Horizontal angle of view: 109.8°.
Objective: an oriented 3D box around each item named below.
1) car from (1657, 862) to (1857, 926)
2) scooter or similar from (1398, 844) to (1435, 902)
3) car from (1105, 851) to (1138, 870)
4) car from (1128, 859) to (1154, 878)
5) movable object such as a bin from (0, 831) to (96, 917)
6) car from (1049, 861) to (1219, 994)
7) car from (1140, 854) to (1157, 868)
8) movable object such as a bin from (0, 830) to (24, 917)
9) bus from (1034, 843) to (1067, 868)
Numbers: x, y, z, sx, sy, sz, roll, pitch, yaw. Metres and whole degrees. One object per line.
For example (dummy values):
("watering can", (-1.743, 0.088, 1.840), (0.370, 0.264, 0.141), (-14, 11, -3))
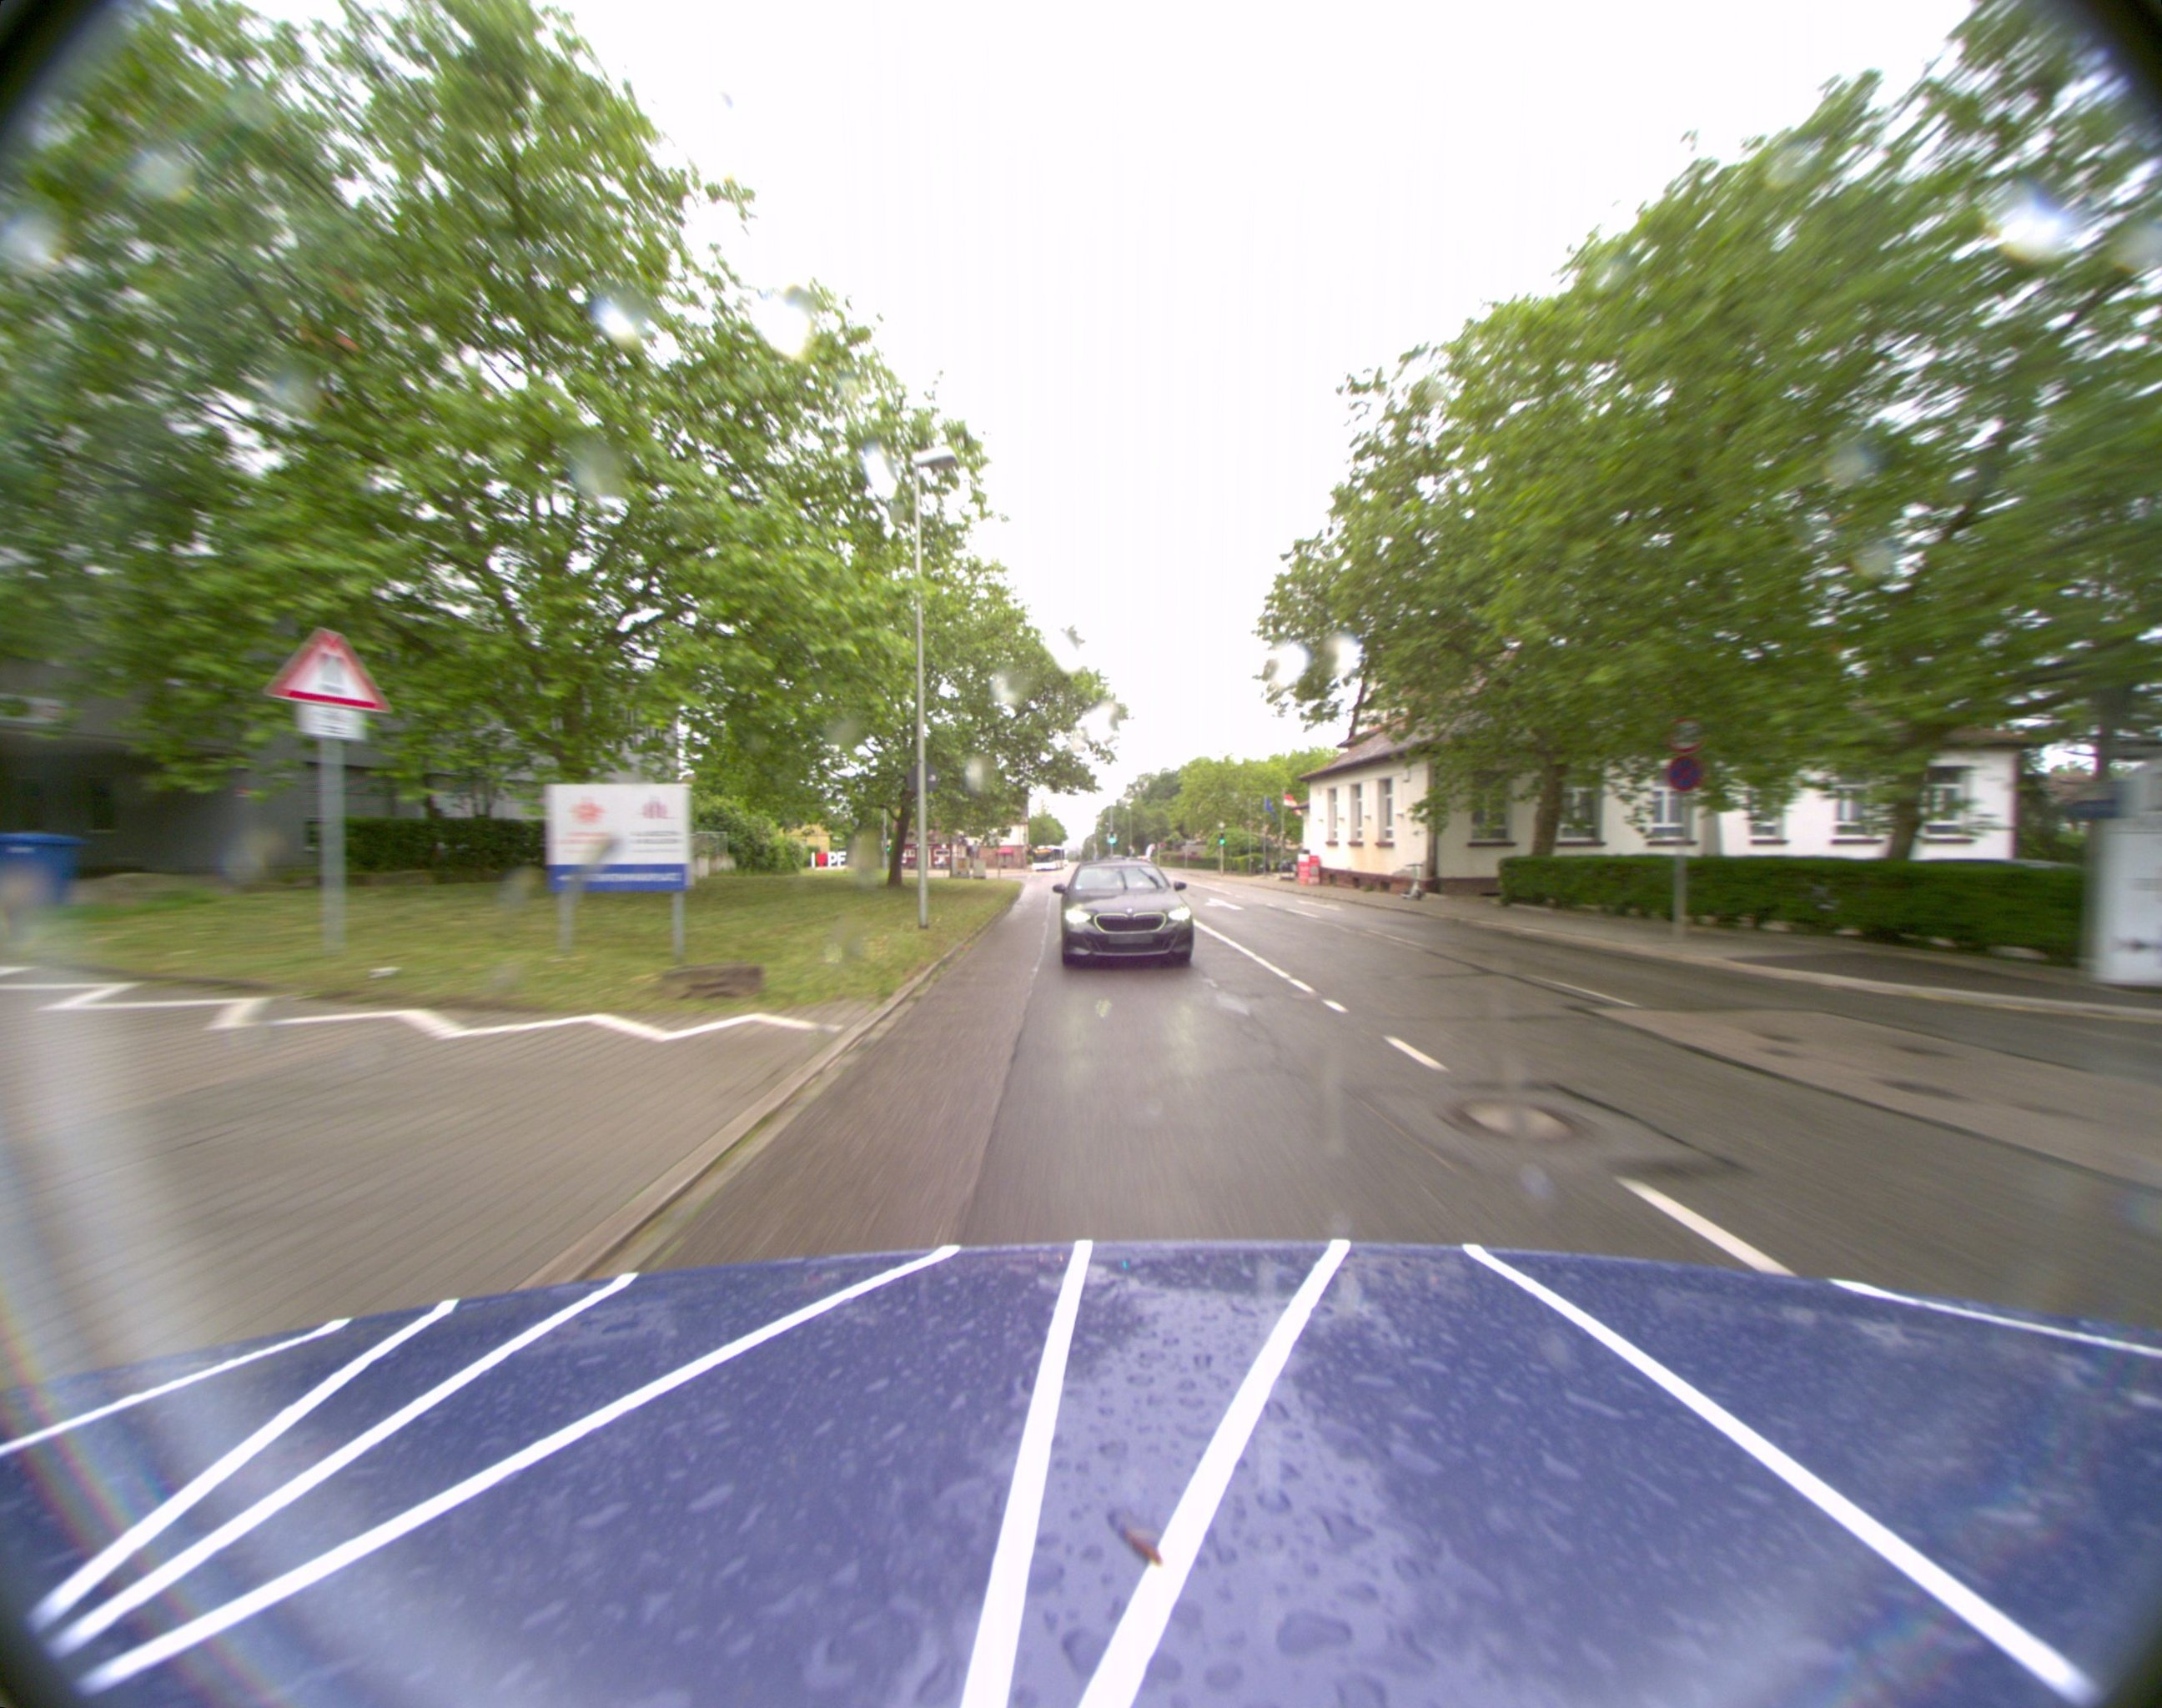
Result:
("car", (19.059, 1.069, 21.737), (1.756, 1.433, 4.284), (3, 1, -1))
("scooter or similar", (10.626, 0.586, 24.115), (0.402, 1.765, 1.512), (-1, 1, -4))
("car", (3.645, 0.594, 69.779), (2.001, 1.652, 4.299), (0, 0, -12))
("car", (4.830, 1.141, 61.790), (1.998, 1.420, 4.390), (2, -1, 4))
("movable object such as a bin", (-14.273, 0.274, 10.381), (0.670, 1.114, 0.662), (-3, 1, -6))
("car", (0.568, 0.913, 11.339), (1.999, 1.586, 4.146), (0, 0, -4))
("car", (8.282, 0.901, 93.520), (1.997, 1.674, 4.003), (1, -1, 6))
("movable object such as a bin", (-14.174, 0.271, 9.578), (0.670, 1.114, 0.662), (-3, 1, -6))
("bus", (-3.683, 0.077, 94.538), (2.897, 2.770, 10.387), (-3, 1, 4))
